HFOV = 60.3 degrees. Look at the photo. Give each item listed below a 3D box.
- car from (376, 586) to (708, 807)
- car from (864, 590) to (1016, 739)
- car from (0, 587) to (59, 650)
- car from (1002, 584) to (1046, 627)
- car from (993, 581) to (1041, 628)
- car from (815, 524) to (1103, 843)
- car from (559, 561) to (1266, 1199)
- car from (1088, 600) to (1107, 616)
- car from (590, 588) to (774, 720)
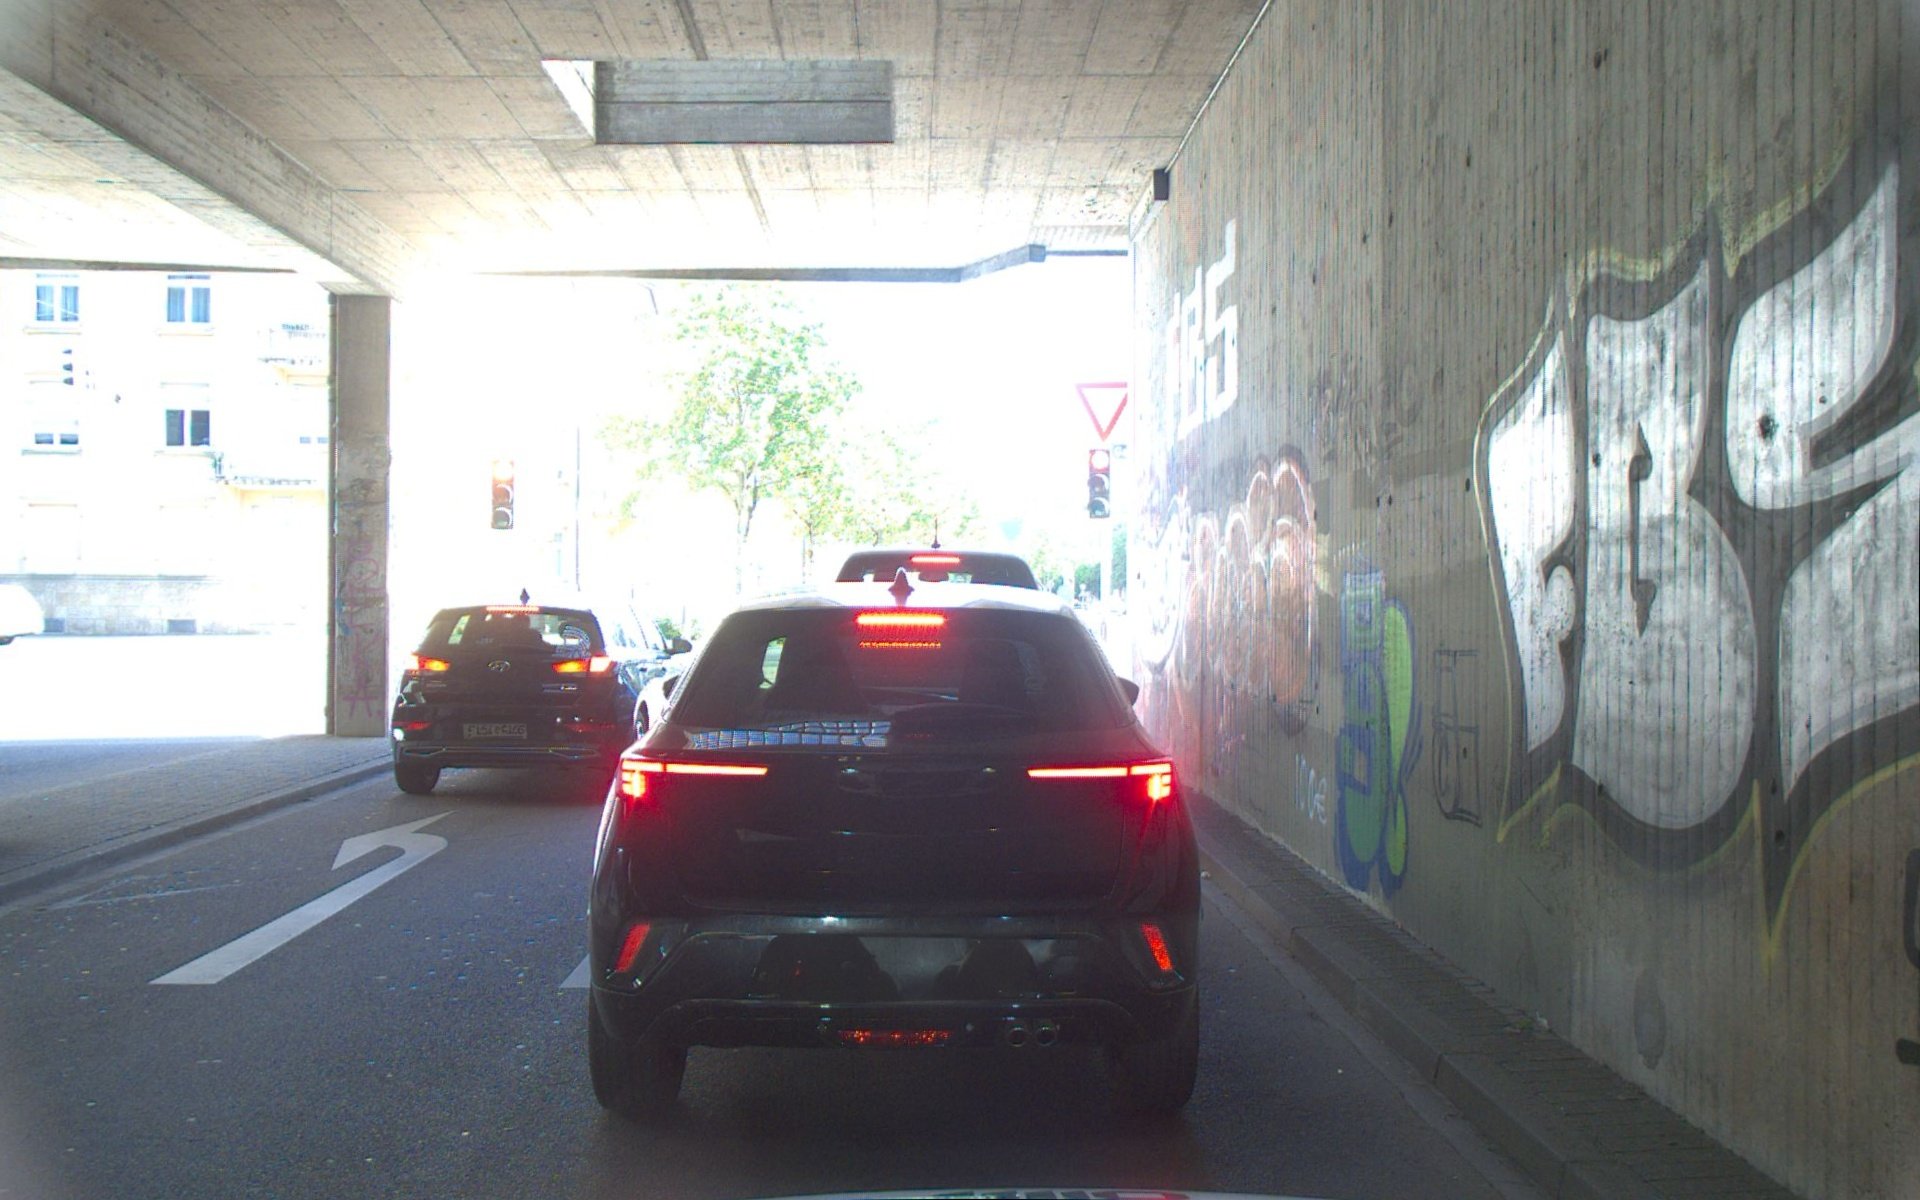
[{"bbox_3d":[-3.151,0.656,13.245,1.726,1.506,3.843,0,0,-1],"label":"car"},{"bbox_3d":[-0.240,0.668,19.261,1.576,1.539,4.053,0,0,-1],"label":"car"},{"bbox_3d":[-23.607,0.404,38.529,4.191,1.423,1.883,0,0,0],"label":"car"},{"bbox_3d":[2.666,0.215,68.368,1.717,1.696,3.946,1,0,3],"label":"car"},{"bbox_3d":[2.177,0.181,62.242,1.717,1.696,3.946,1,0,3],"label":"car"},{"bbox_3d":[-0.035,0.502,12.047,1.726,1.915,4.145,0,0,-1],"label":"car"},{"bbox_3d":[-0.141,0.684,6.102,1.726,1.558,4.088,0,0,-1],"label":"car"},{"bbox_3d":[14.909,0.896,179.510,1.716,1.696,3.948,1,0,10],"label":"car"},{"bbox_3d":[-3.422,0.617,20.965,1.726,1.506,3.843,0,0,-1],"label":"car"}]
